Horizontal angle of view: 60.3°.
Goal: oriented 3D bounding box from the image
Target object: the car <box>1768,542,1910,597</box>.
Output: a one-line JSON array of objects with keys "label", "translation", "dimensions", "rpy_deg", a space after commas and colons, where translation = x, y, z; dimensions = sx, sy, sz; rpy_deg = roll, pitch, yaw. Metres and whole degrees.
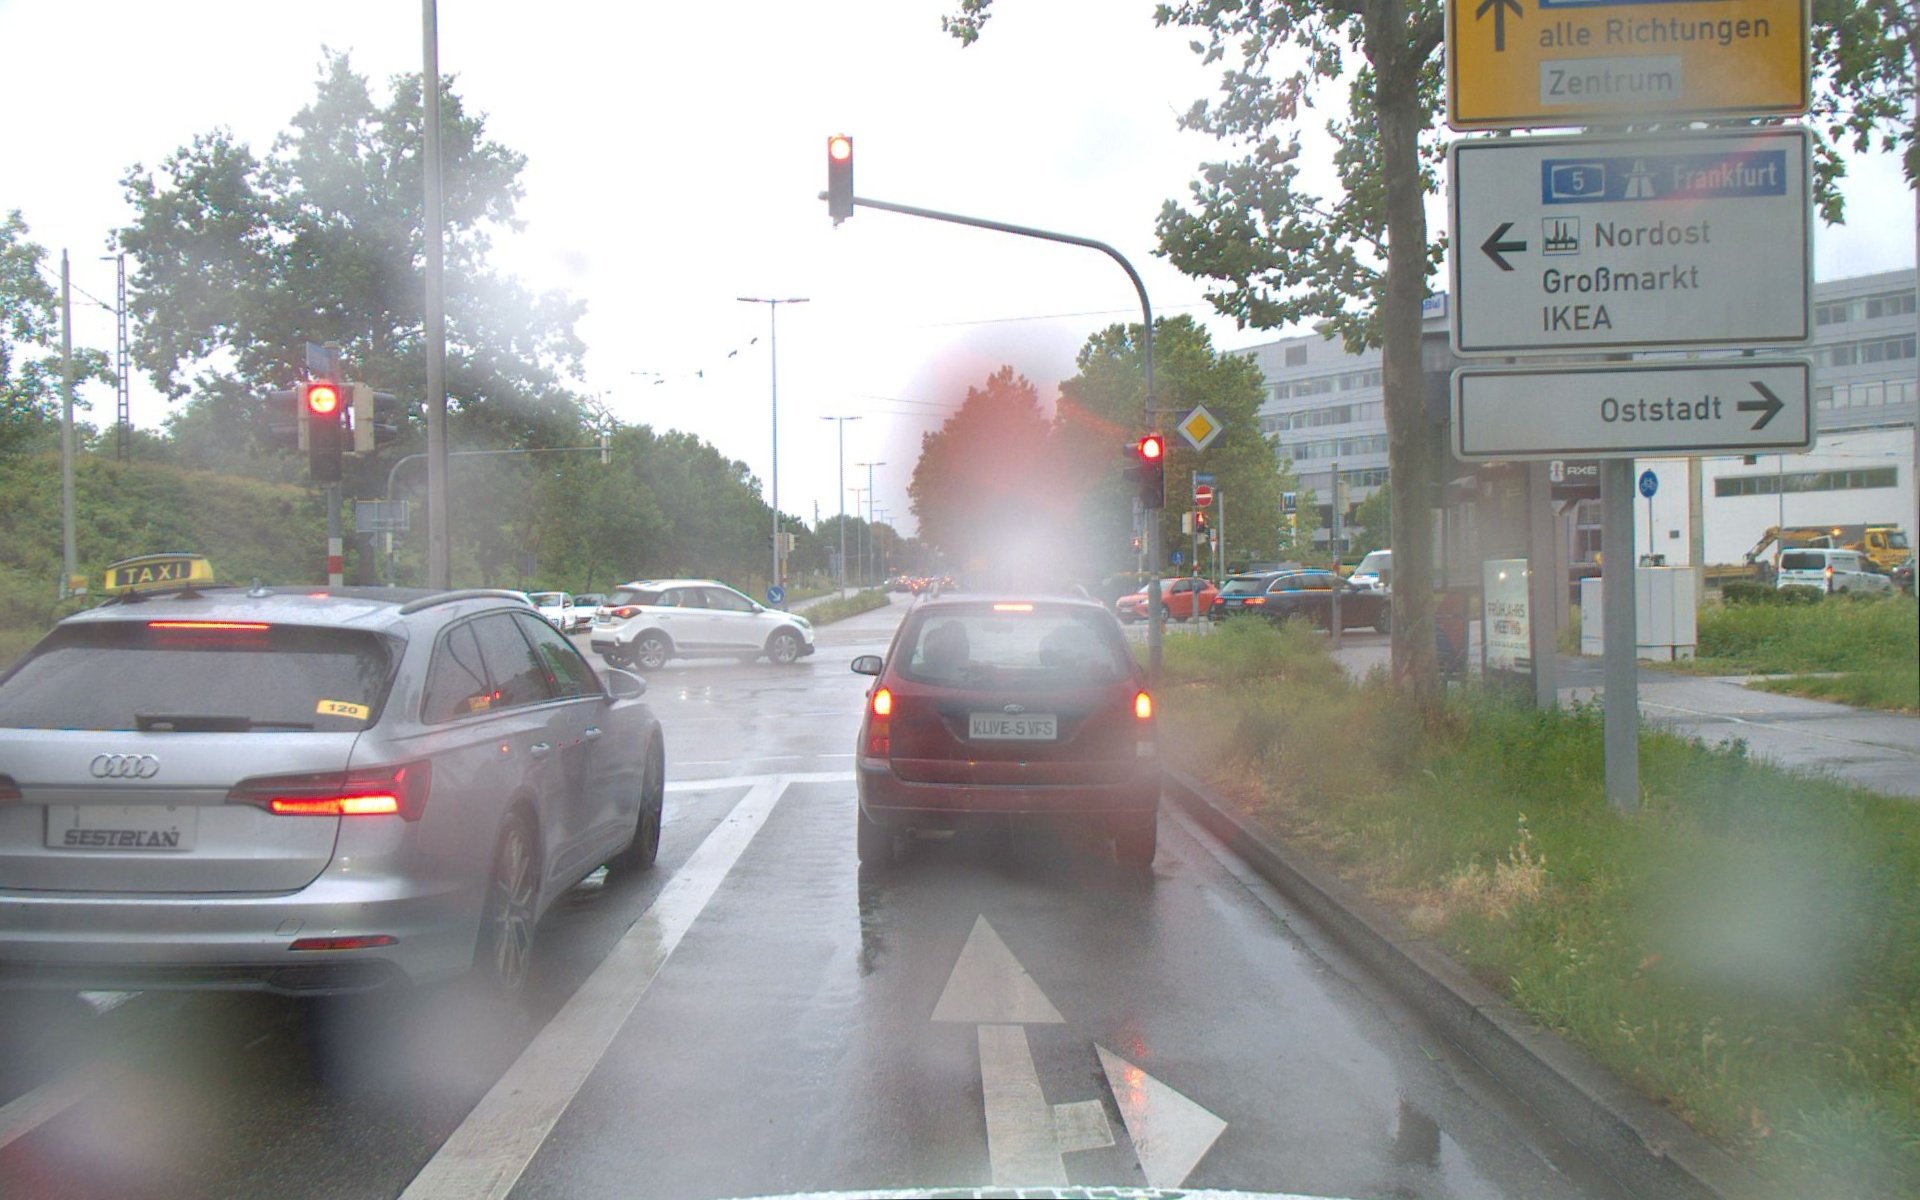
[{"label": "car", "translation": [26.448, -0.910, 49.723], "dimensions": [4.327, 1.564, 1.784], "rpy_deg": [-1, 0, -30]}]

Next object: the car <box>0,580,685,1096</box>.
[{"label": "car", "translation": [-2.340, 0.666, 6.986], "dimensions": [1.656, 1.458, 4.573], "rpy_deg": [0, 0, -1]}]

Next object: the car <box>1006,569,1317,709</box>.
[{"label": "car", "translation": [2.835, 0.447, 22.678], "dimensions": [4.349, 1.563, 1.775], "rpy_deg": [-4, 3, -41]}]

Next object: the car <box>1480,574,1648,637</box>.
[{"label": "car", "translation": [15.695, 0.109, 42.946], "dimensions": [4.327, 1.564, 1.784], "rpy_deg": [0, 0, -30]}]

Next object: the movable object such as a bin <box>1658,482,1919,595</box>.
[{"label": "movable object such as a bin", "translation": [52.974, -3.571, 103.992], "dimensions": [8.168, 6.393, 14.792], "rpy_deg": [1, 0, -34]}]

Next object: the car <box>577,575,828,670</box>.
[{"label": "car", "translation": [-4.589, 0.368, 29.578], "dimensions": [4.011, 1.547, 1.978], "rpy_deg": [-1, 0, -32]}]

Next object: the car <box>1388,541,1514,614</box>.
[{"label": "car", "translation": [16.807, -0.769, 56.536], "dimensions": [4.339, 2.228, 1.779], "rpy_deg": [-4, 2, -36]}]

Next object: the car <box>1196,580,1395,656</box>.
[{"label": "car", "translation": [7.611, 0.375, 37.392], "dimensions": [4.327, 1.564, 1.784], "rpy_deg": [-1, 0, -30]}]

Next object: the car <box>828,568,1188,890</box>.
[{"label": "car", "translation": [0.207, 0.628, 10.346], "dimensions": [1.760, 1.564, 4.386], "rpy_deg": [1, 0, -1]}]

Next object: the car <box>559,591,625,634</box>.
[{"label": "car", "translation": [-14.073, 0.456, 63.444], "dimensions": [1.678, 1.556, 3.999], "rpy_deg": [-1, 0, -1]}]

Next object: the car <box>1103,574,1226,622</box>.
[{"label": "car", "translation": [6.672, -0.068, 53.708], "dimensions": [3.961, 1.454, 1.694], "rpy_deg": [-2, 0, -39]}]

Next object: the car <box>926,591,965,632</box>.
[{"label": "car", "translation": [-0.772, 0.595, 87.294], "dimensions": [1.953, 2.049, 3.999], "rpy_deg": [-1, 0, -1]}]

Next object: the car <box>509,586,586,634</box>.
[{"label": "car", "translation": [-14.145, 0.326, 56.904], "dimensions": [1.678, 1.556, 3.999], "rpy_deg": [-1, 0, -1]}]

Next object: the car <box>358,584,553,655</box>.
[{"label": "car", "translation": [-11.693, 0.426, 38.456], "dimensions": [3.962, 1.512, 1.793], "rpy_deg": [-1, 0, -40]}]

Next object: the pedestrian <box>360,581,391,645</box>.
[{"label": "pedestrian", "translation": [-16.801, 0.369, 47.541], "dimensions": [0.522, 1.817, 0.673], "rpy_deg": [0, -1, 16]}]
